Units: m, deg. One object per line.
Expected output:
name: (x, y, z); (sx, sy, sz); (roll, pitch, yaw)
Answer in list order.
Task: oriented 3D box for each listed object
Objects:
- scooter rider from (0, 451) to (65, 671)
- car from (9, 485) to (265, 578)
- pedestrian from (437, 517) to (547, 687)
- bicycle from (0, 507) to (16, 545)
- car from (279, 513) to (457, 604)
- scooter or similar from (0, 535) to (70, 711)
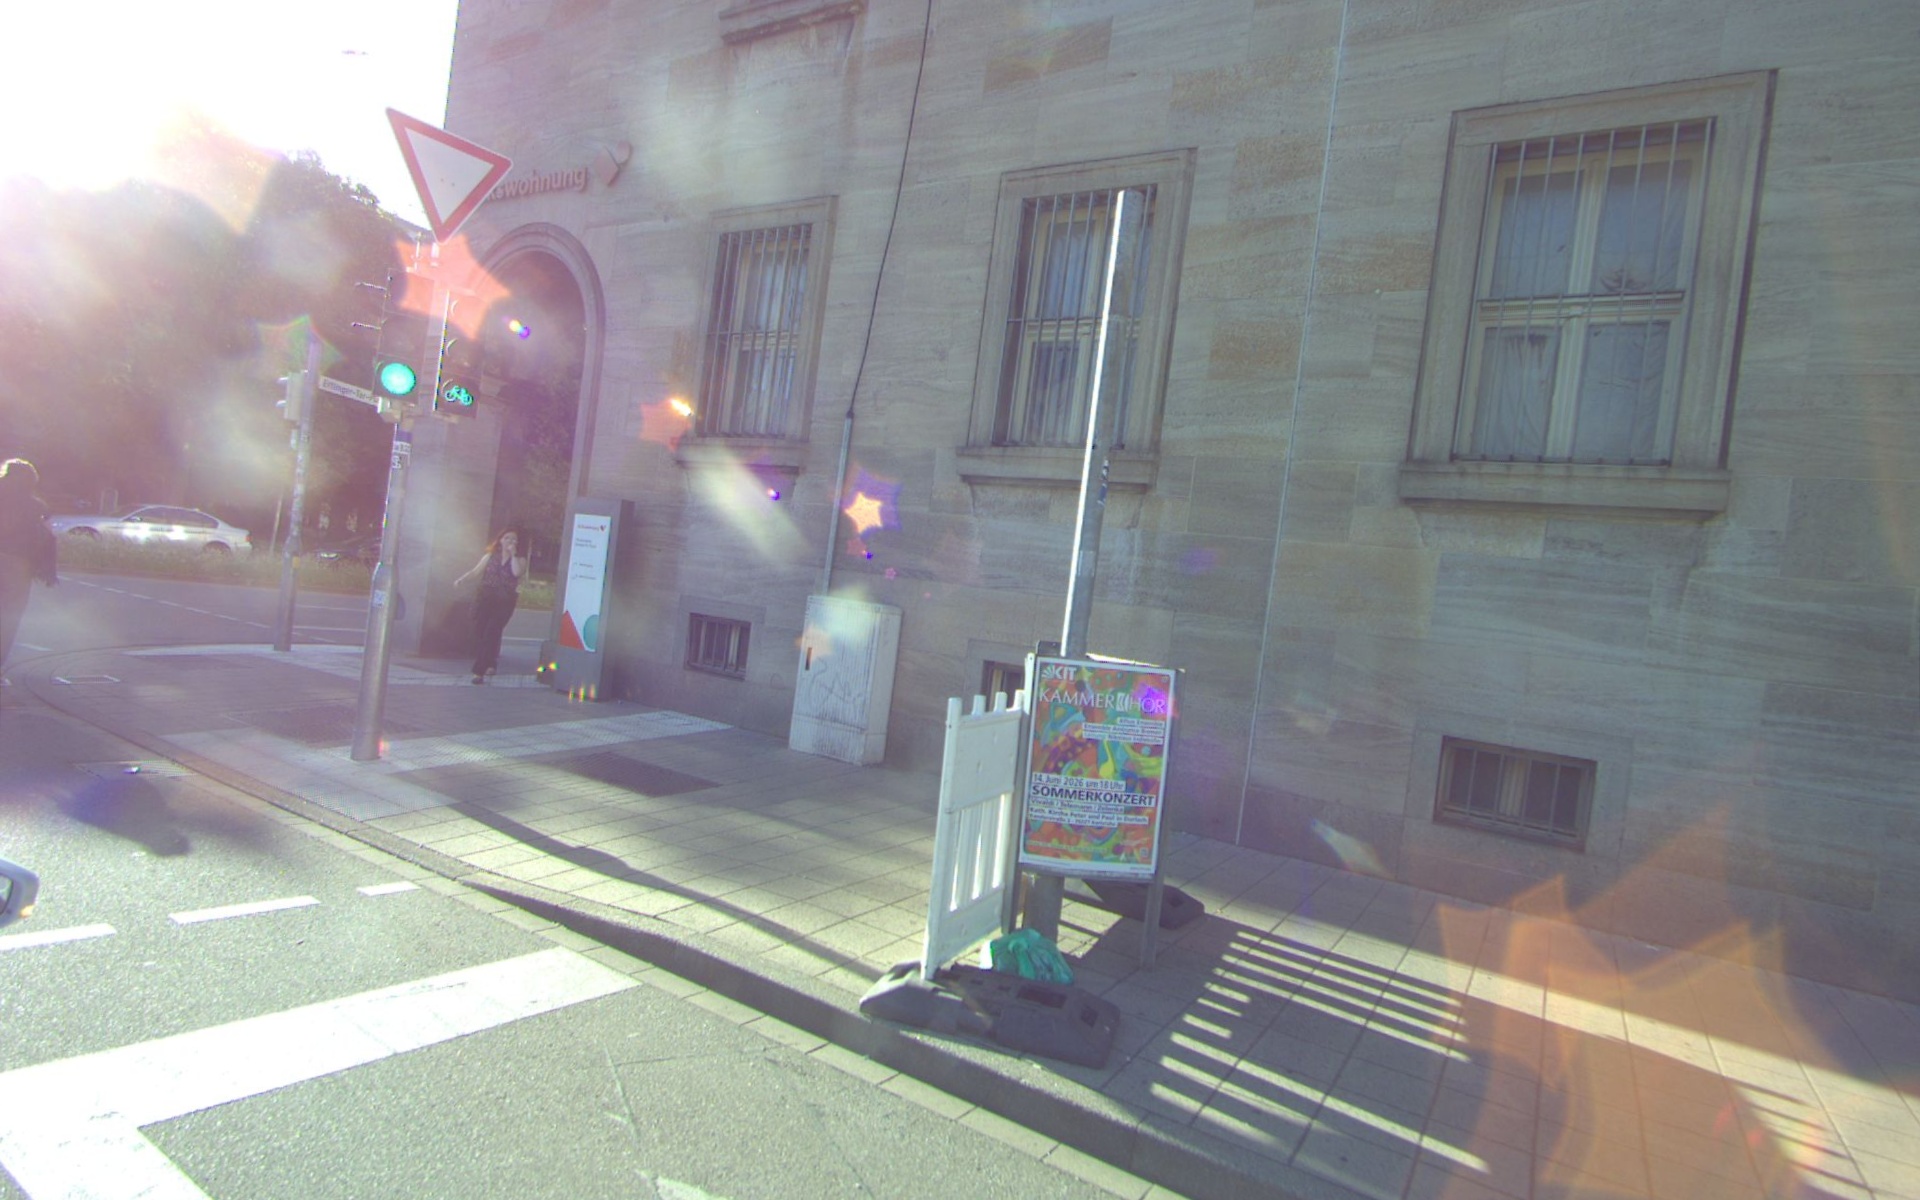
scooter rider: (-7.186, -0.307, 7.506); (0.568, 1.581, 0.544); (7, 0, 39)
car: (-20.856, -1.688, 25.721); (1.967, 1.533, 4.586); (7, -2, 32)
pedestrian: (-4.824, 0.016, 10.371); (0.799, 1.629, 0.596); (8, 4, 31)
bicycle: (-24.681, -1.968, 24.761); (0.707, 0.900, 1.944); (7, -2, 38)
car: (-17.659, -1.190, 30.178); (1.967, 2.037, 3.994); (7, -2, 33)
scooter or similar: (-7.121, 0.124, 7.412); (1.254, 1.163, 0.573); (7, -1, 41)
